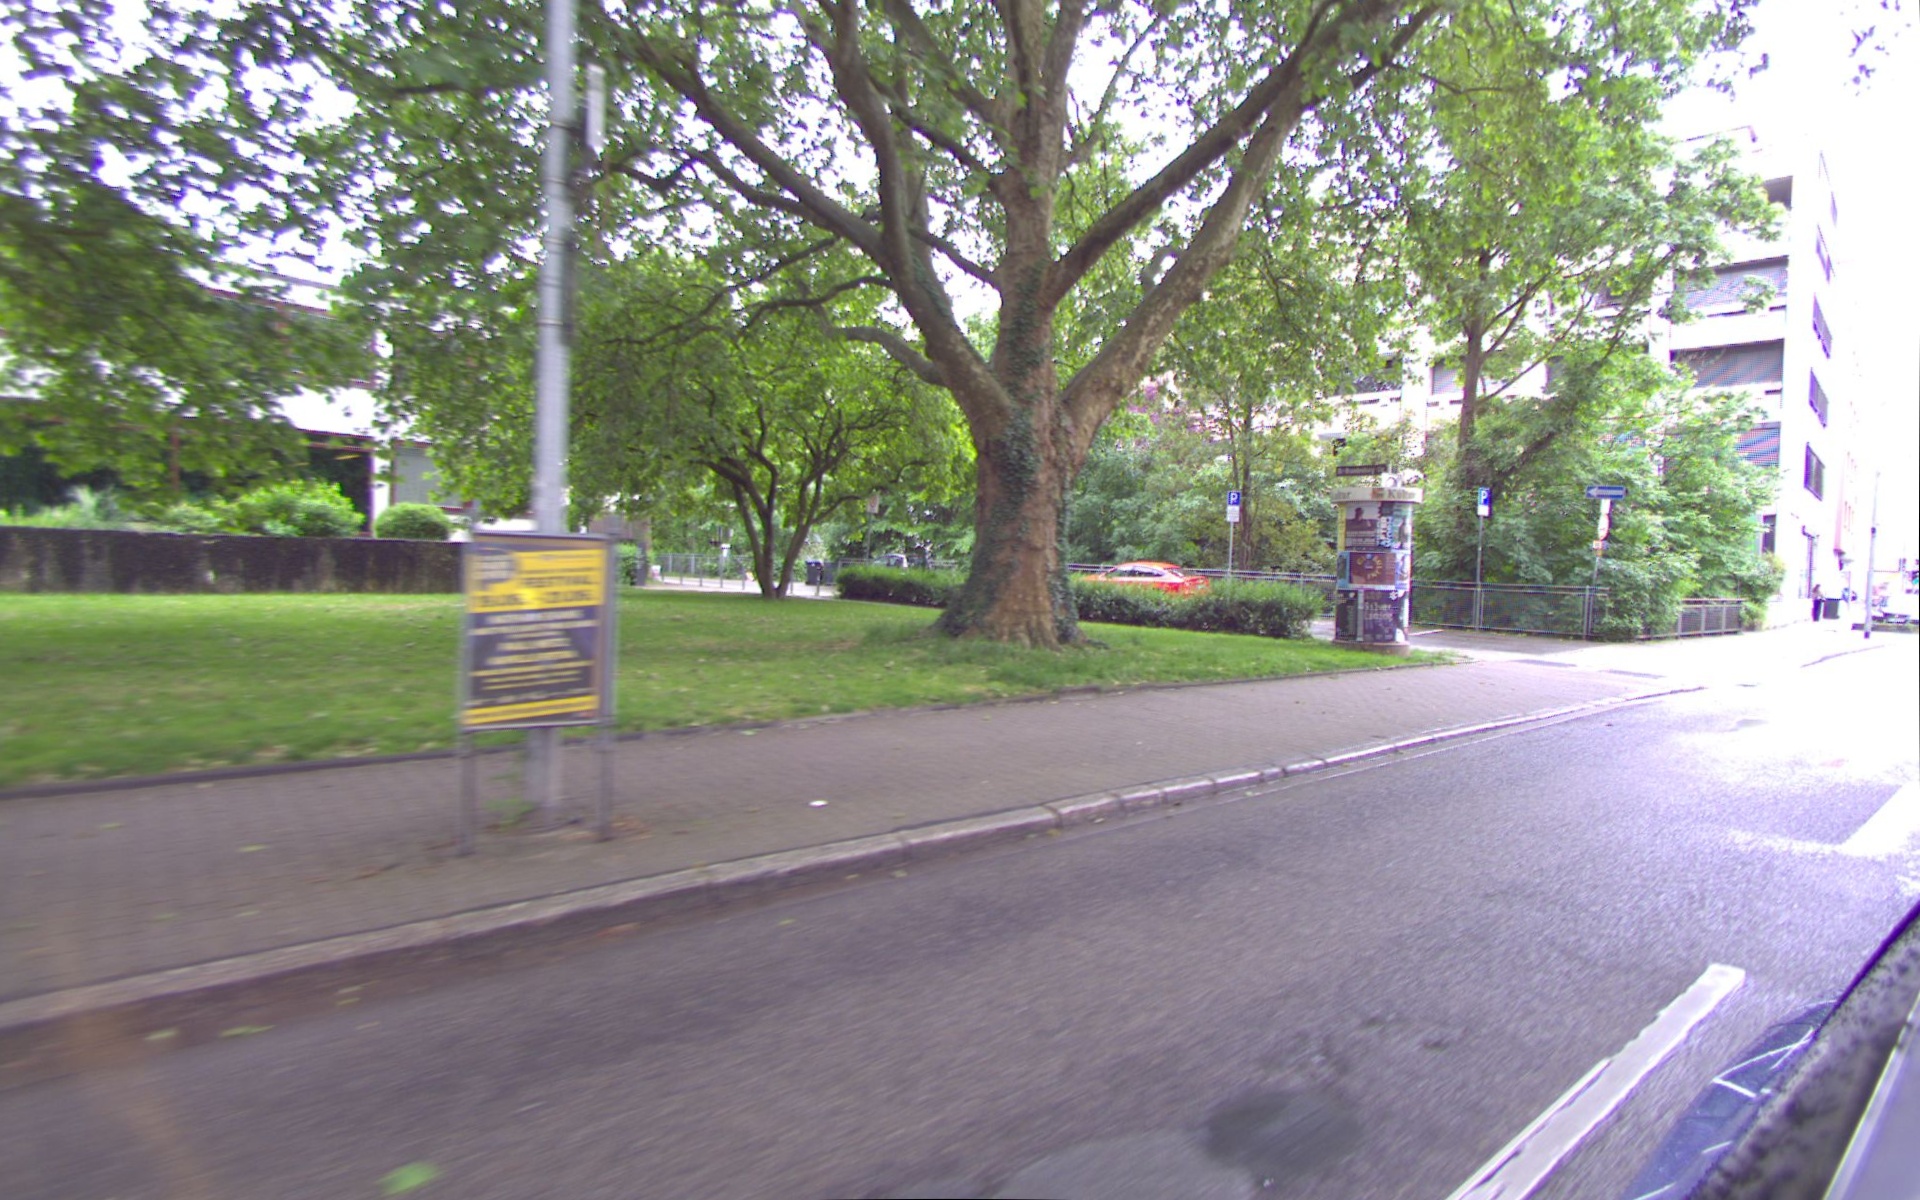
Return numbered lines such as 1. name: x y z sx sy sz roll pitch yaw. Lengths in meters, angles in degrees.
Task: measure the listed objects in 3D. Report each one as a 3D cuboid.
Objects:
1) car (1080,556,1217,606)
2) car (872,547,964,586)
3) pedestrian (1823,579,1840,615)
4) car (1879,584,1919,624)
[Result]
1. car: 5.561 -0.599 30.138 1.551 1.294 3.784 -1 4 -44
2. car: -1.578 -1.250 37.548 3.460 1.294 1.426 5 4 45
3. pedestrian: 37.129 -0.125 43.112 0.473 1.549 0.480 -1 0 -41
4. car: 38.074 0.163 40.270 3.617 1.449 1.681 0 6 -41
